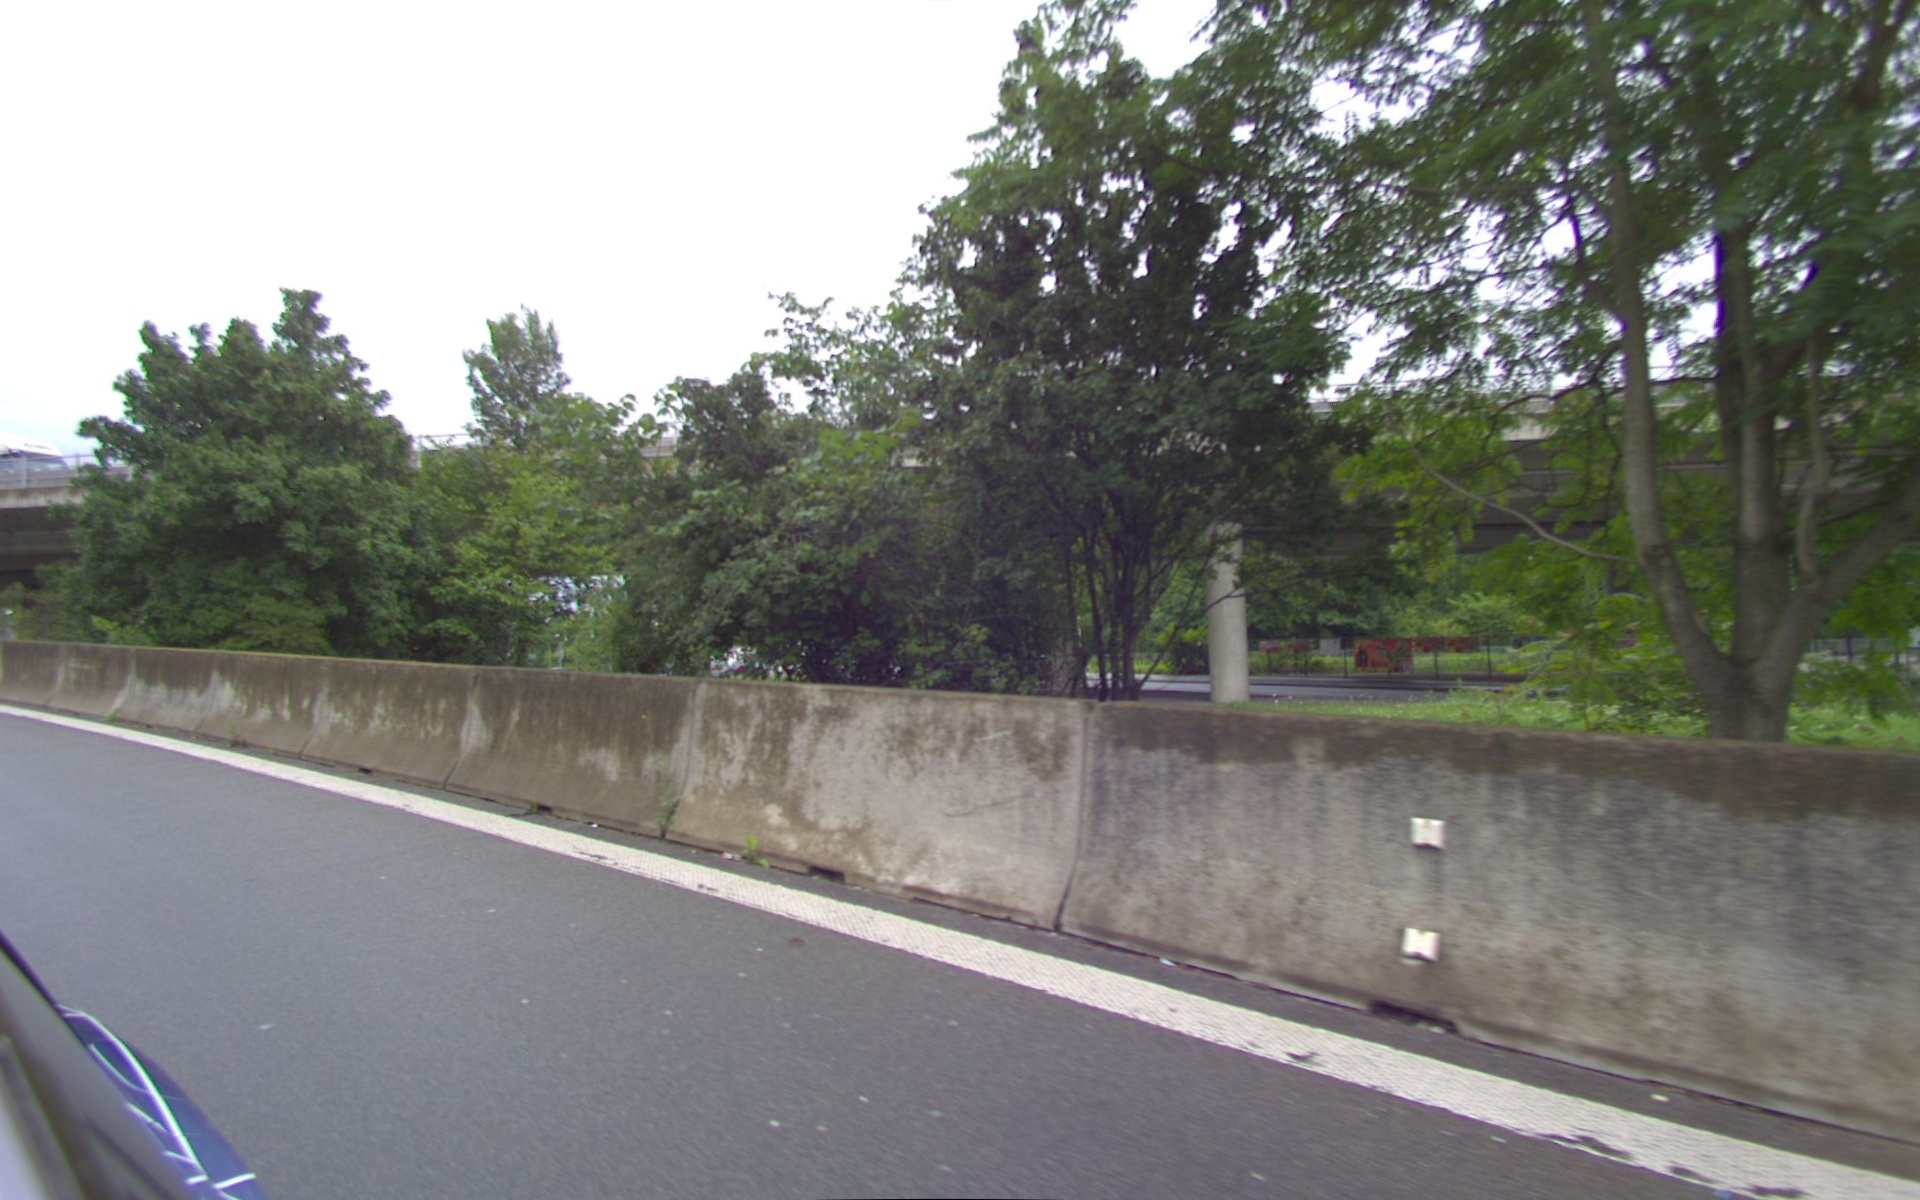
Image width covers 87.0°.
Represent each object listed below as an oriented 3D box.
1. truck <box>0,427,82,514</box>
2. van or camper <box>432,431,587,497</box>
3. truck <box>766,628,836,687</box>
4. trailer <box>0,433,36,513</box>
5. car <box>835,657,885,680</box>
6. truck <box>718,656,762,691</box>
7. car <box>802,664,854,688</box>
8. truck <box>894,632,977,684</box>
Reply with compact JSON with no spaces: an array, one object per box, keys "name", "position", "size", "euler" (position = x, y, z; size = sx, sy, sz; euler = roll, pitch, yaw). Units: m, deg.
[{"name":"truck","position":[-42.729,-5.710,45.182],"size":[5.133,3.271,2.591],"euler":[-2,-2,8]},{"name":"van or camper","position":[-18.350,-5.508,41.350],"size":[5.446,2.029,2.324],"euler":[-1,-2,10]},{"name":"truck","position":[-13.398,4.832,84.470],"size":[2.751,4.627,9.631],"euler":[3,-4,-28]},{"name":"trailer","position":[-49.448,-5.597,46.114],"size":[13.896,3.323,2.659],"euler":[-1,-2,8]},{"name":"car","position":[-7.240,4.895,72.872],"size":[1.941,1.595,4.605],"euler":[3,-4,-28]},{"name":"truck","position":[-23.696,7.873,108.736],"size":[2.751,3.708,6.664],"euler":[3,-4,-28]},{"name":"car","position":[-9.269,5.271,70.719],"size":[1.941,1.595,4.604],"euler":[3,-4,-30]},{"name":"truck","position":[-1.641,3.625,62.671],"size":[2.221,3.000,7.255],"euler":[3,-5,-27]}]
